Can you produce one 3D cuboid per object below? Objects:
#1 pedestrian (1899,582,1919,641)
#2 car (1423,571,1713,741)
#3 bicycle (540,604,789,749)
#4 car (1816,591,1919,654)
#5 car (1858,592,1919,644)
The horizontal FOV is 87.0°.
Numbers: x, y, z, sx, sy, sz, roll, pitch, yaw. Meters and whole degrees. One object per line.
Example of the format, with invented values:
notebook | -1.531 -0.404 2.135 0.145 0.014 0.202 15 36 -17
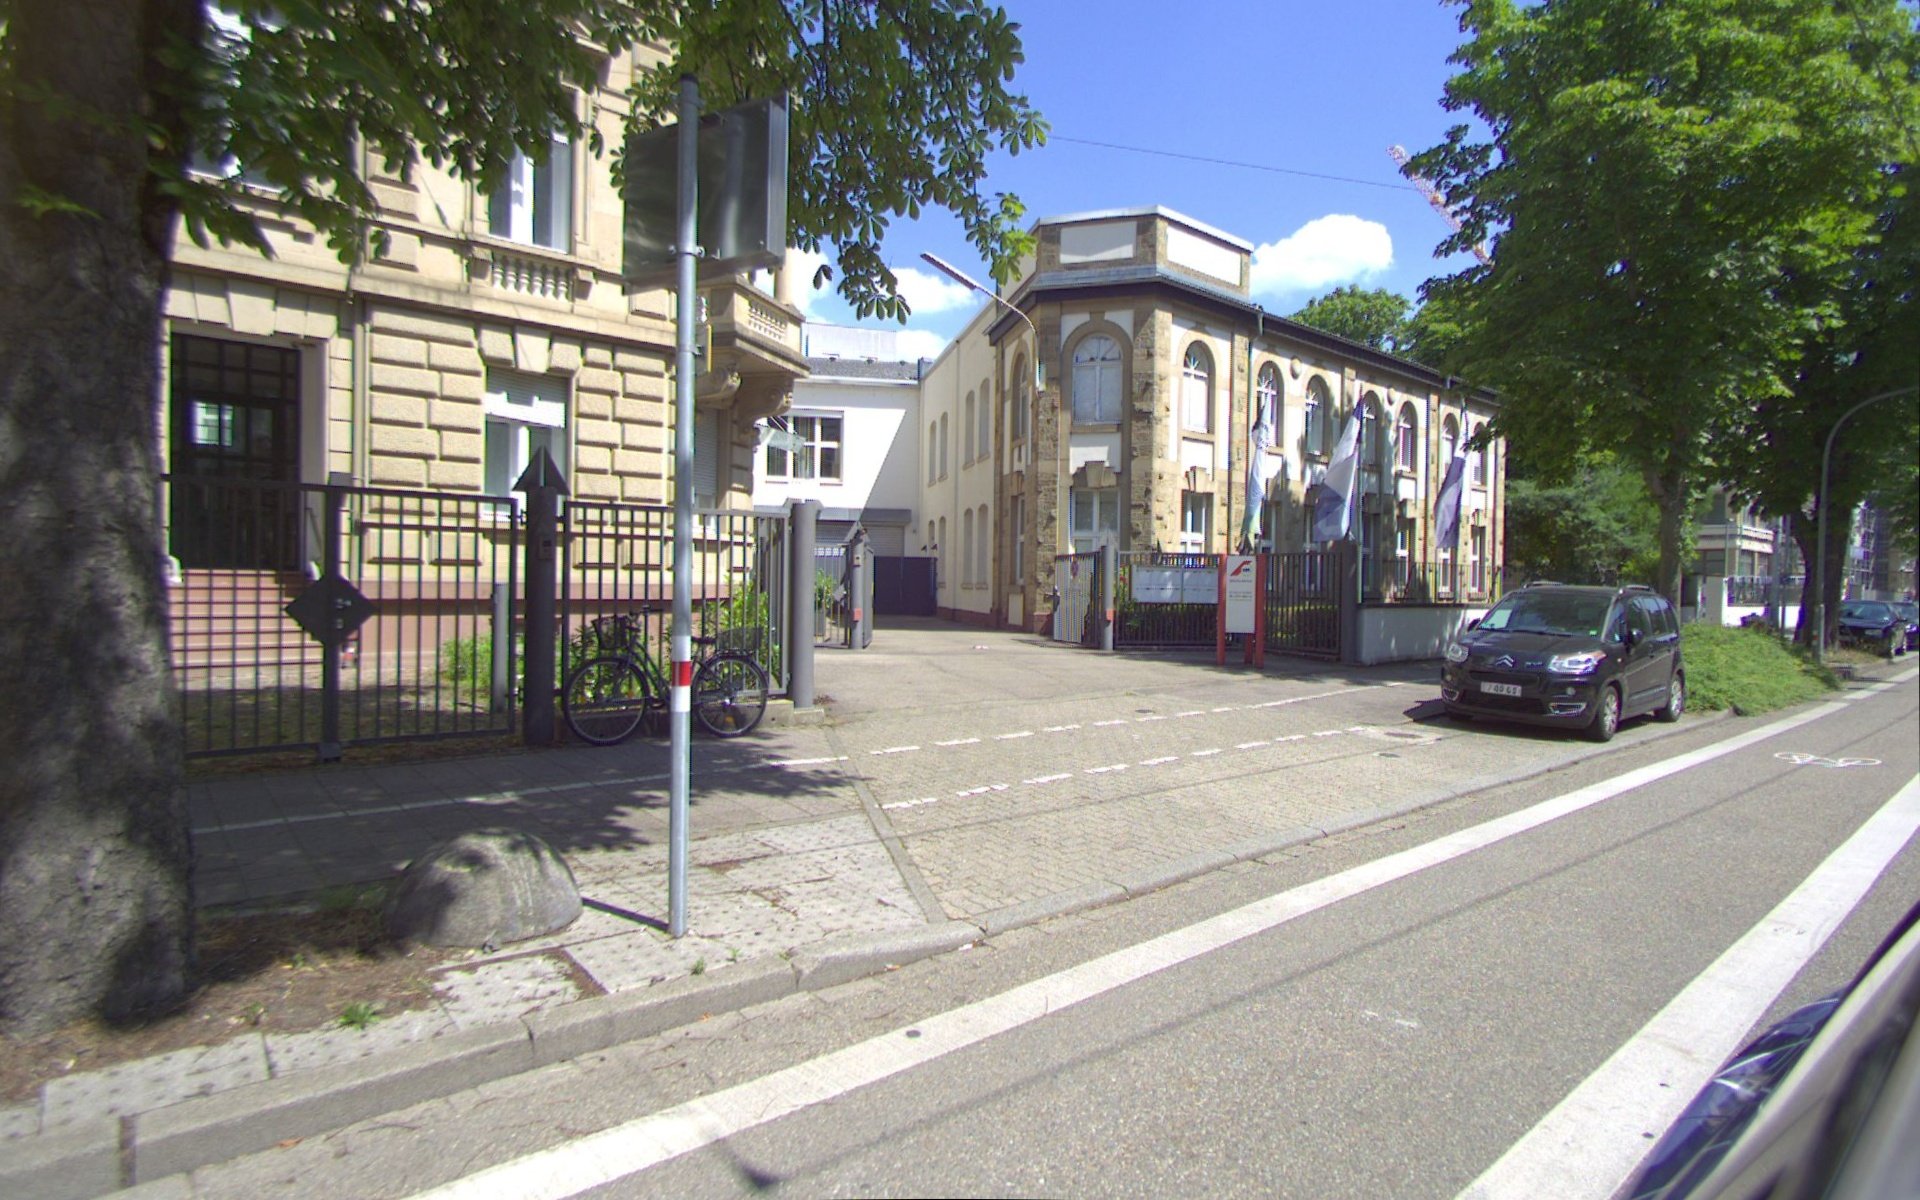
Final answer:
pedestrian | 30.956 0.372 32.633 0.724 1.873 0.648 1 1 -14
car | 7.345 0.536 12.086 4.012 1.635 1.734 0 3 -41
bicycle | -2.457 0.587 8.574 1.944 1.084 0.609 0 1 -39
car | 23.650 0.536 26.235 3.756 1.420 1.625 0 4 -41
car | 28.486 0.512 30.469 3.930 1.420 1.625 0 4 -41
